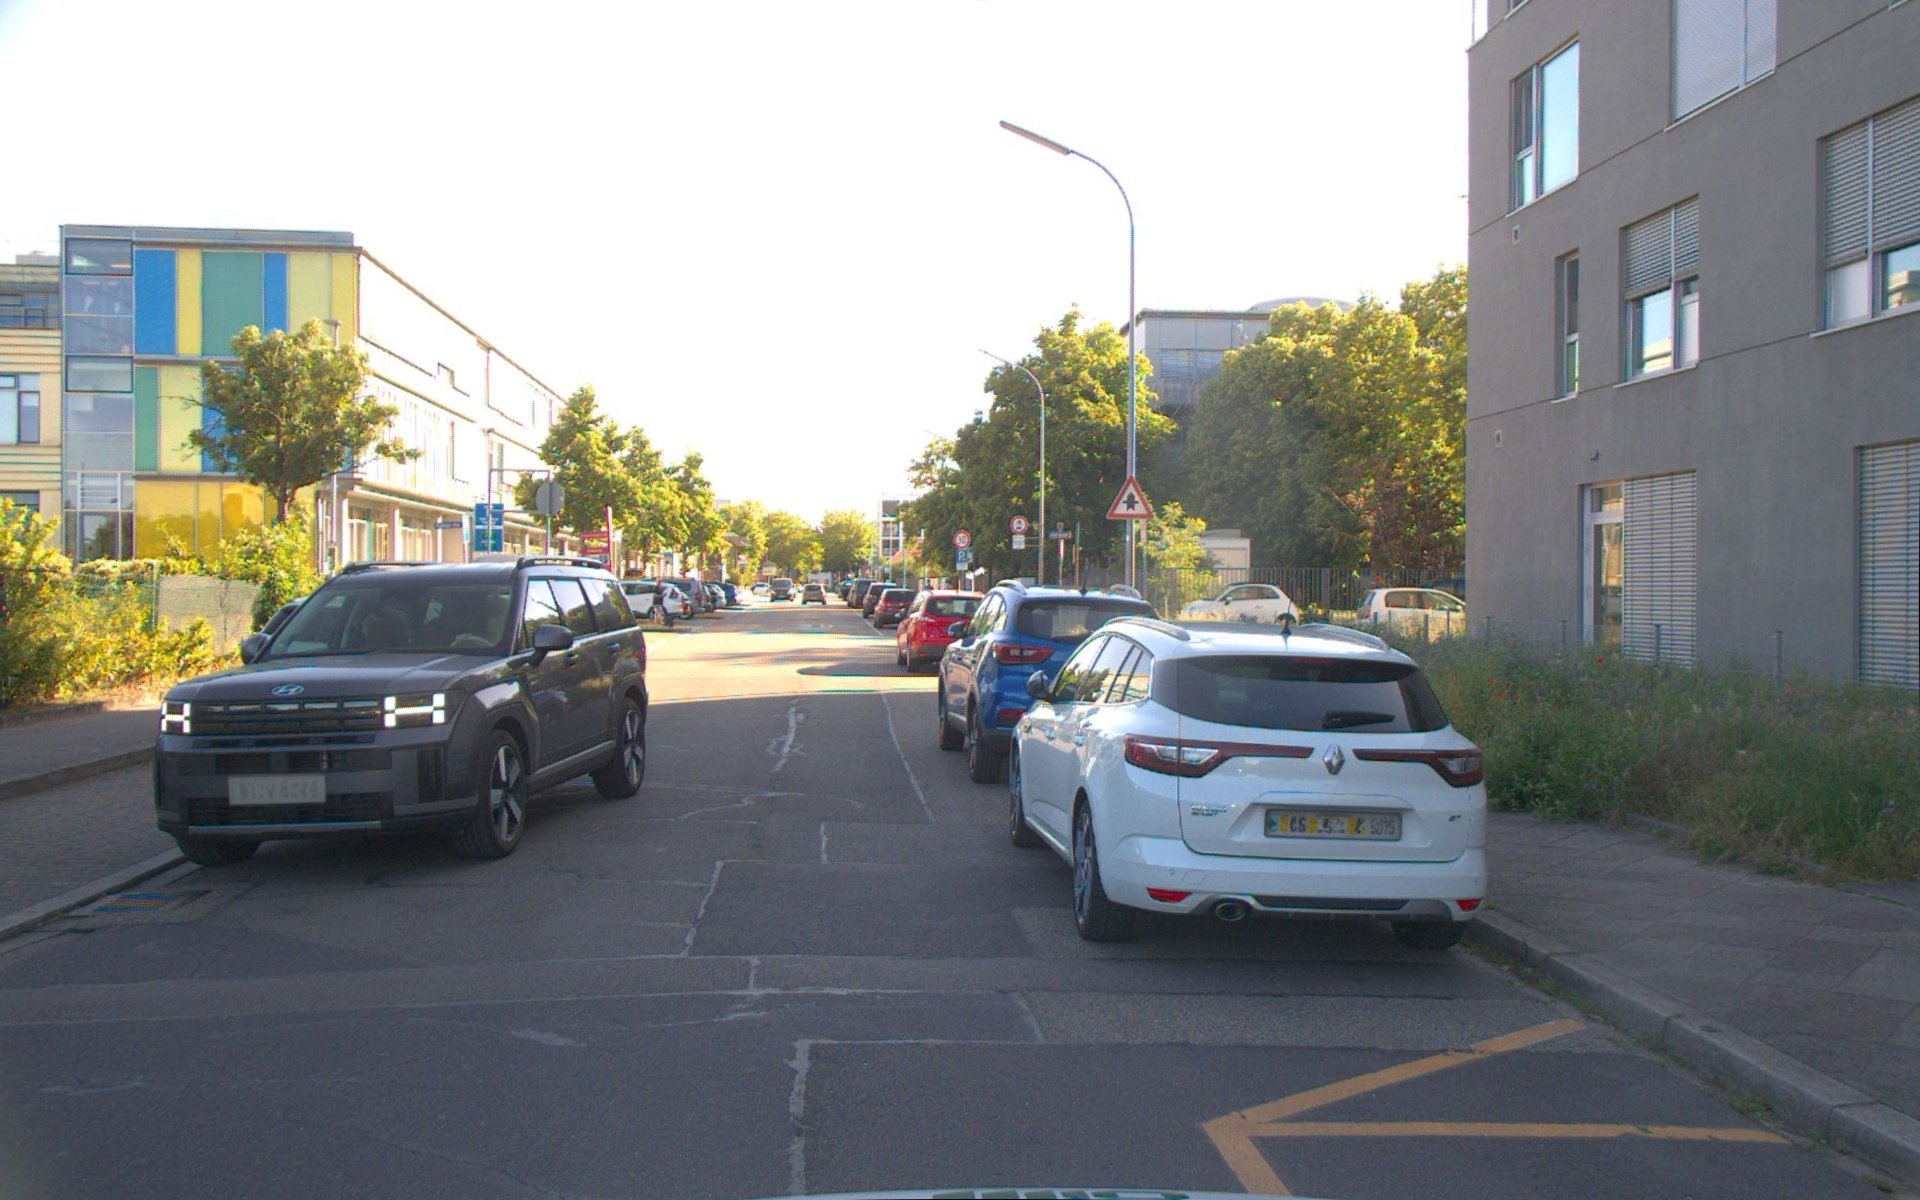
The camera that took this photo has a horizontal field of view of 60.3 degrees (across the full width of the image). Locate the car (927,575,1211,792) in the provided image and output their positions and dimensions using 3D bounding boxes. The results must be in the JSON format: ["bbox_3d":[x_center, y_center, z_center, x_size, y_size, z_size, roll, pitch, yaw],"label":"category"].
[{"bbox_3d":[0.800,0.628,15.022,1.782,1.627,4.622,2,0,-6],"label":"car"}]

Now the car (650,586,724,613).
[{"bbox_3d":[-14.875,-0.044,90.249,3.913,1.382,1.740,1,0,-9],"label":"car"}]

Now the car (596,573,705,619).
[{"bbox_3d":[-13.955,-0.187,74.820,4.650,1.897,1.826,2,0,-5],"label":"car"}]

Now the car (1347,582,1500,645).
[{"bbox_3d":[11.255,0.311,40.313,3.258,1.483,1.714,0,0,0],"label":"car"}]

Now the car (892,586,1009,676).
[{"bbox_3d":[-0.249,0.527,31.319,1.783,1.526,4.447,2,0,-6],"label":"car"}]

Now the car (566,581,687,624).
[{"bbox_3d":[-13.367,0.086,66.479,4.519,1.680,1.867,0,0,-2],"label":"car"}]

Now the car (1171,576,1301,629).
[{"bbox_3d":[8.041,0.063,48.303,3.477,1.512,1.599,0,0,-4],"label":"car"}]

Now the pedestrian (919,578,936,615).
[{"bbox_3d":[-1.618,-0.190,82.268,0.703,1.788,0.884,-2,1,-5],"label":"pedestrian"}]

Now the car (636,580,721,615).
[{"bbox_3d":[-14.393,-0.141,84.761,4.168,1.640,2.044,1,0,-9],"label":"car"}]

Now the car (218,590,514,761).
[{"bbox_3d":[-5.952,0.672,17.165,1.713,1.471,4.537,2,0,-5],"label":"car"}]

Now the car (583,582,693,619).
[{"bbox_3d":[-13.440,0.028,69.203,4.347,1.527,1.826,0,0,-5],"label":"car"}]

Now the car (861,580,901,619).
[{"bbox_3d":[-3.833,-0.057,79.666,1.776,1.695,4.589,1,1,-4],"label":"car"}]

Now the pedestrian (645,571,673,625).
[{"bbox_3d":[-10.789,-0.075,59.268,0.841,1.874,0.825,2,0,-4],"label":"pedestrian"}]

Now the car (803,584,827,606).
[{"bbox_3d":[-10.644,-0.351,121.396,1.709,1.570,3.996,1,0,-5],"label":"car"}]

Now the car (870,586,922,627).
[{"bbox_3d":[-2.497,0.213,63.698,1.686,1.480,4.646,1,0,-6],"label":"car"}]

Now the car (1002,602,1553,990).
[{"bbox_3d":[1.328,0.788,8.825,1.711,1.454,4.582,2,0,-4],"label":"car"}]

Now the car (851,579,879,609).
[{"bbox_3d":[-6.005,-0.406,104.505,1.699,1.862,3.901,0,0,-5],"label":"car"}]

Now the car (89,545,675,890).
[{"bbox_3d":[-3.390,0.582,10.895,1.902,1.757,4.841,0,1,3],"label":"car"}]

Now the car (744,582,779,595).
[{"bbox_3d":[-22.845,-1.321,190.748,3.909,1.546,1.998,0,-1,-5],"label":"car"}]

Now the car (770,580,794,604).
[{"bbox_3d":[-14.655,-0.686,136.210,1.917,1.900,5.248,1,0,-6],"label":"car"}]

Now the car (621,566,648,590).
[{"bbox_3d":[-28.552,-1.920,145.209,1.955,2.049,3.995,0,-1,-5],"label":"car"}]

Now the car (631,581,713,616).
[{"bbox_3d":[-14.211,-0.076,81.813,3.913,1.635,1.868,1,0,-9],"label":"car"}]

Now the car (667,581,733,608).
[{"bbox_3d":[-16.854,-0.391,107.391,4.136,1.631,1.868,1,0,-9],"label":"car"}]

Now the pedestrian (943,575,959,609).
[{"bbox_3d":[-0.471,-0.427,85.403,0.685,1.690,0.751,-3,1,-5],"label":"pedestrian"}]
